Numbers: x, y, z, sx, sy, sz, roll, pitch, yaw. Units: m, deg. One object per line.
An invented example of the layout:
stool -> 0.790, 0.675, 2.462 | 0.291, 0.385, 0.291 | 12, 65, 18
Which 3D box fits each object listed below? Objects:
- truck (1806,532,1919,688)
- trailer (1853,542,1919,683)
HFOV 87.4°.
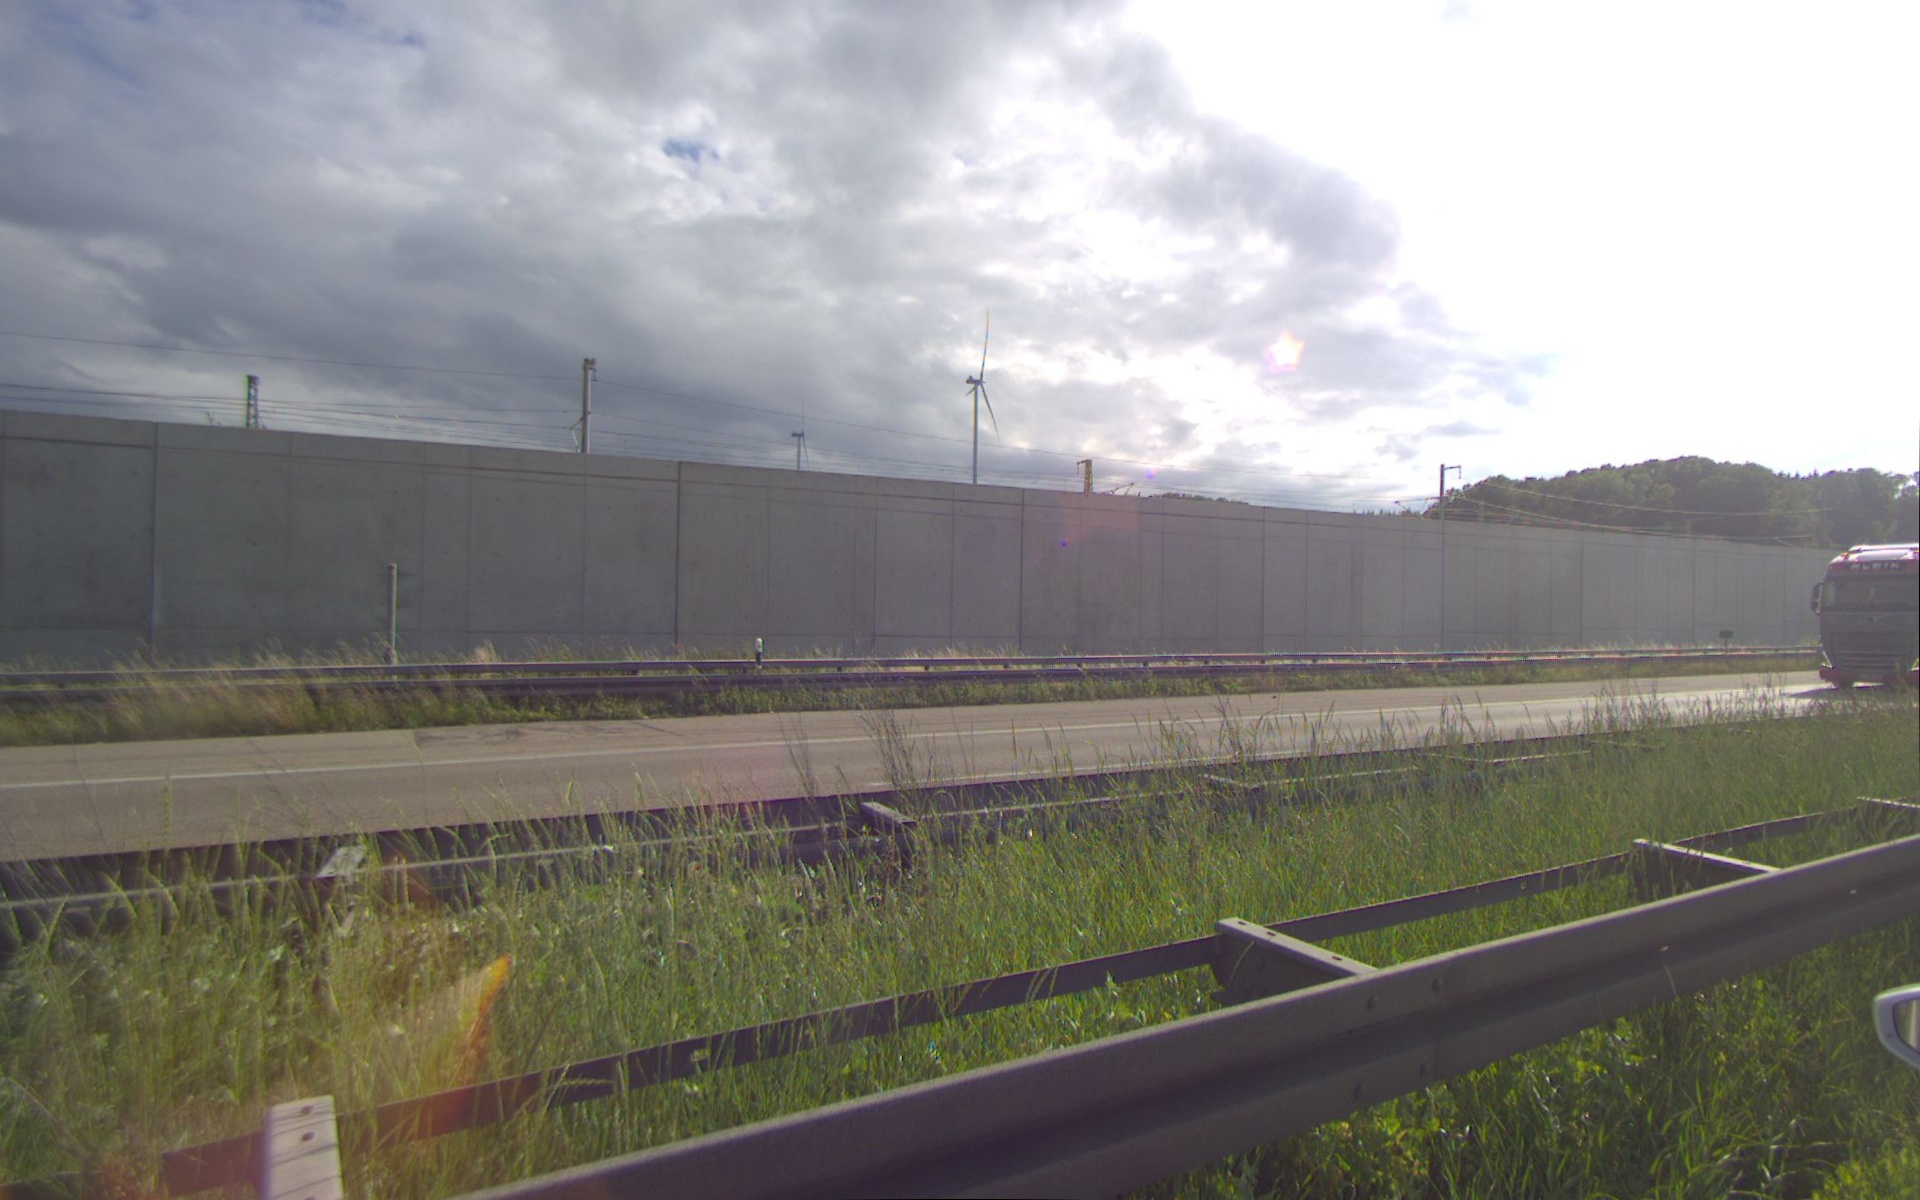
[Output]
truck -> 26.412, 0.342, 28.007 | 5.655, 3.974, 2.570 | 1, -2, -31
trailer -> 31.414, 0.480, 31.033 | 10.739, 3.953, 2.576 | 2, -2, -31
